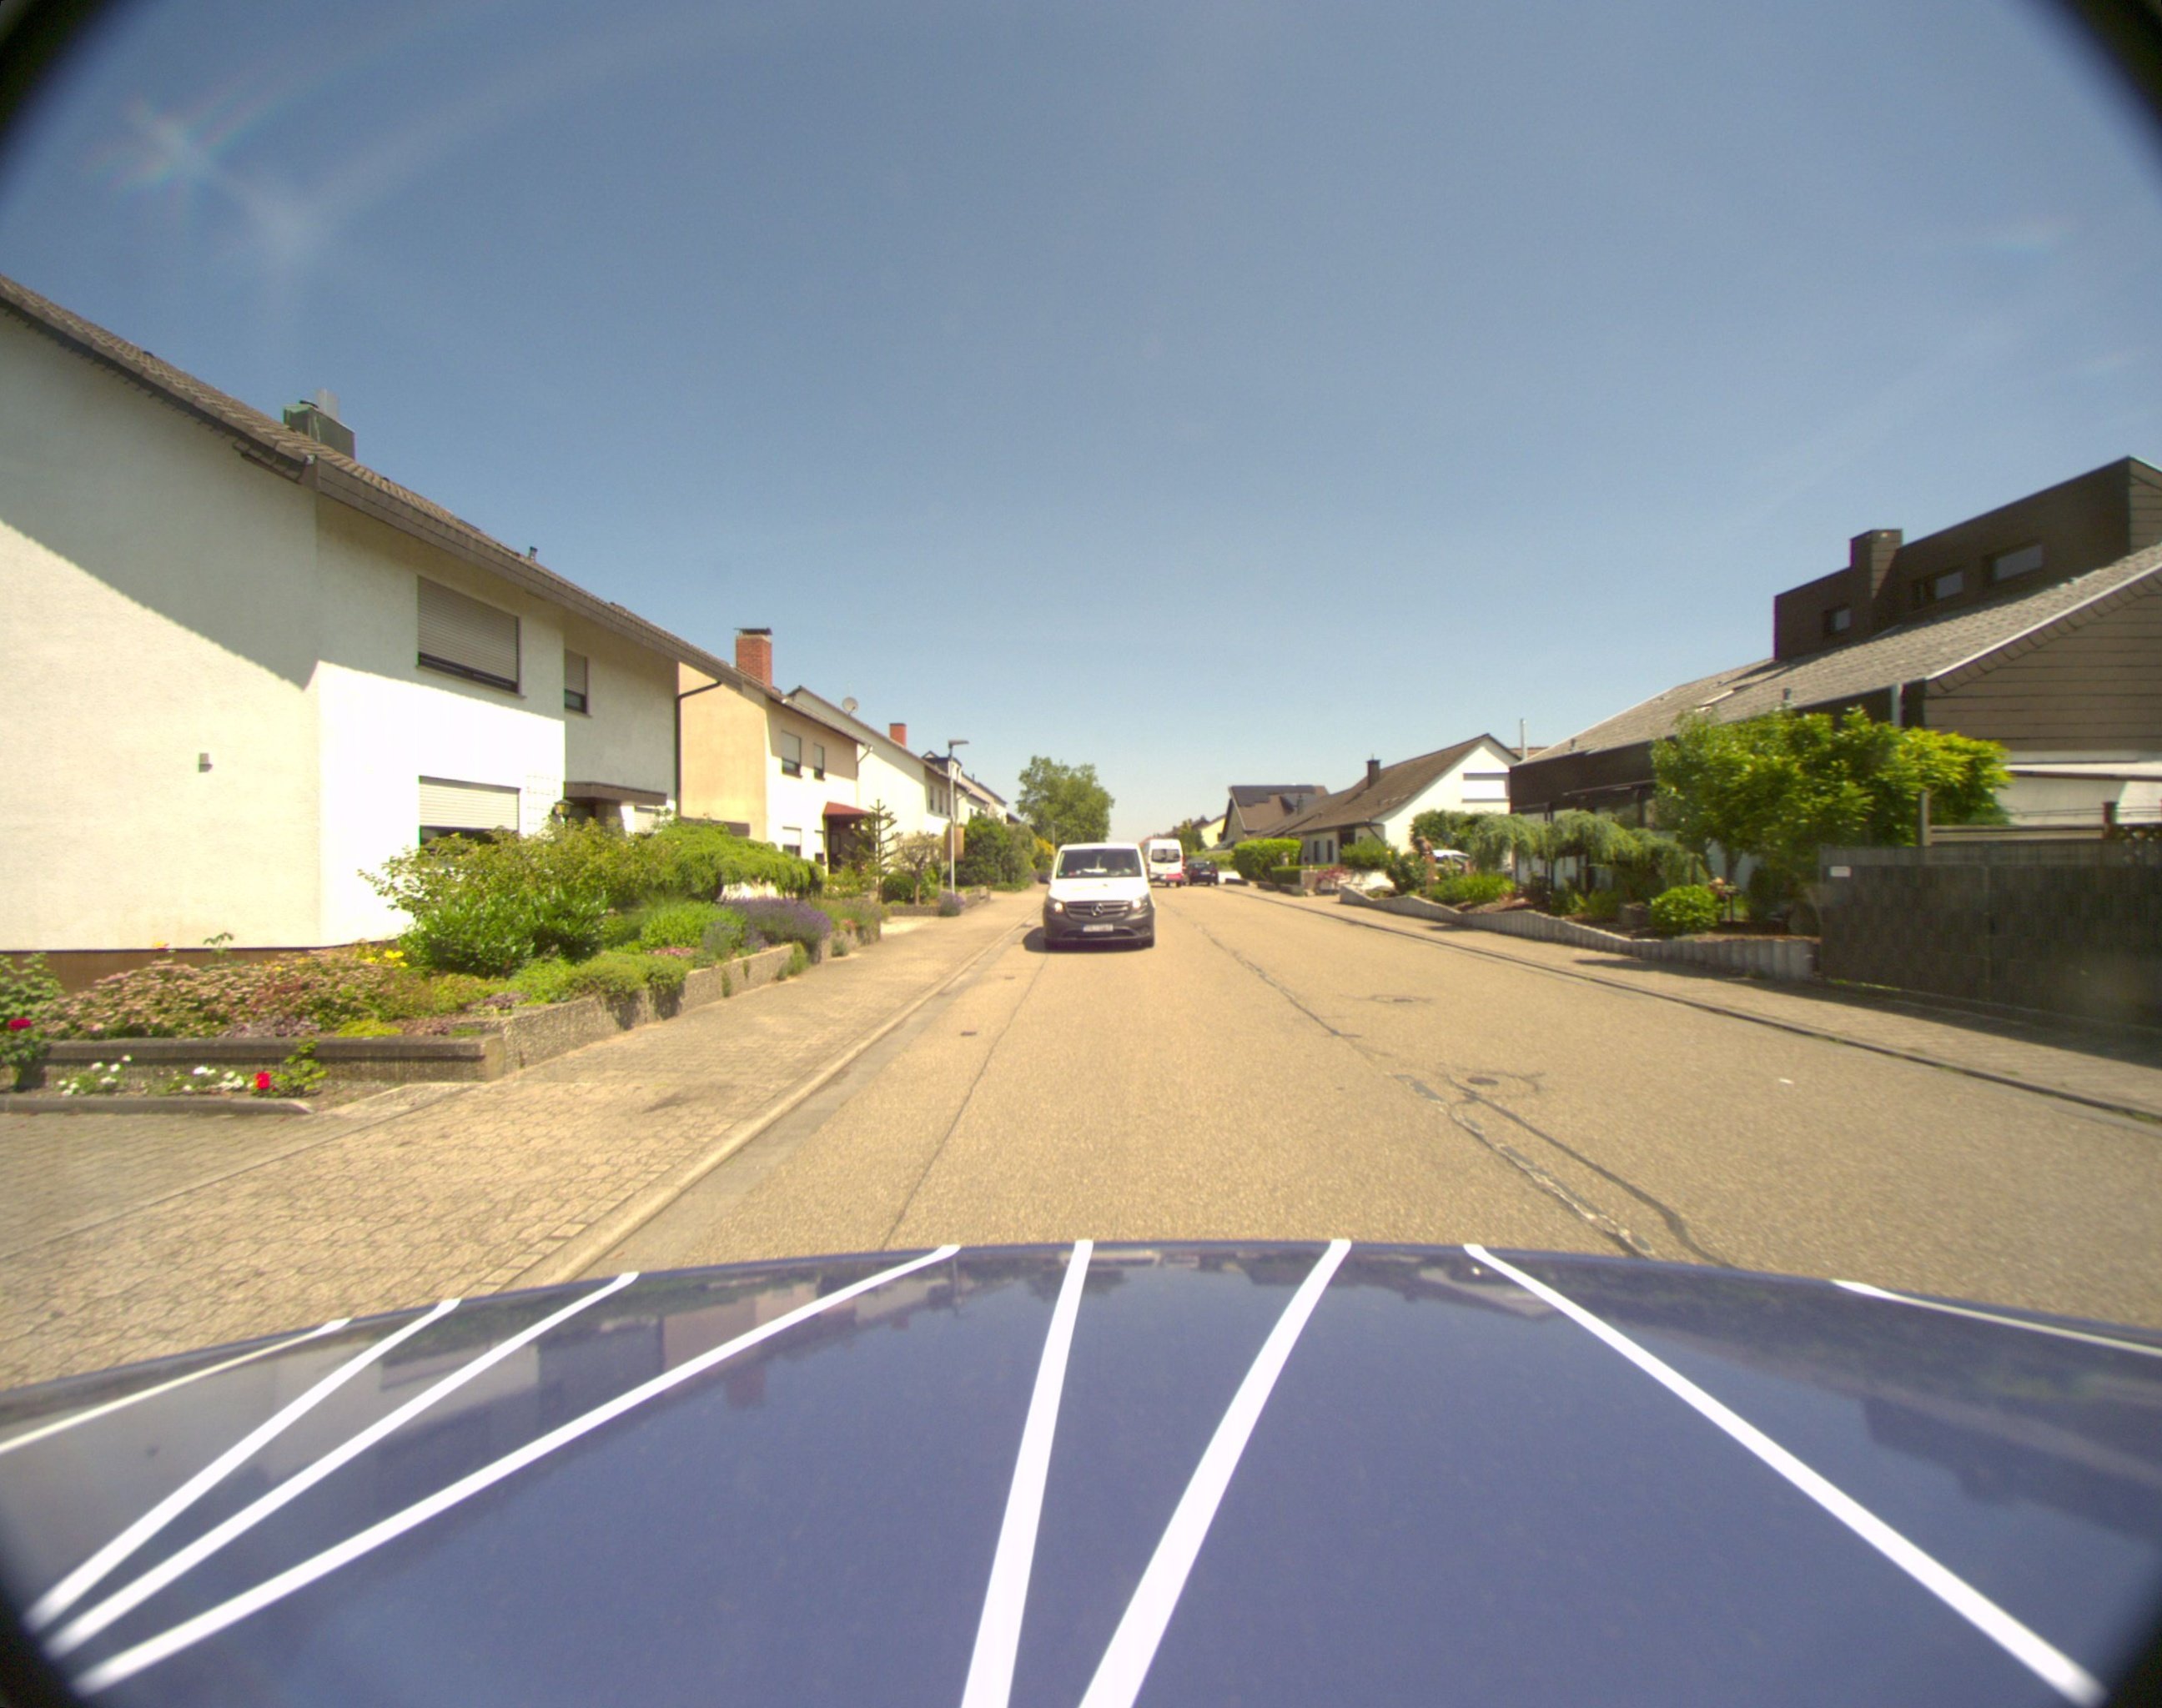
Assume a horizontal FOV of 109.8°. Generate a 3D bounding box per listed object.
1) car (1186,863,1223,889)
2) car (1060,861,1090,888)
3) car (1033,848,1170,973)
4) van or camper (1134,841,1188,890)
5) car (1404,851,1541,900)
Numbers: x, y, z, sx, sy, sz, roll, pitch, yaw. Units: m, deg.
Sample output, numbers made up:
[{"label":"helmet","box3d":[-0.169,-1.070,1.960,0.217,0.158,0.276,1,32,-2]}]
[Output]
[{"label":"car","box3d":[7.299,1.254,45.213,1.807,1.390,4.001,-1,0,5]},{"label":"car","box3d":[-0.310,1.135,43.996,1.564,1.455,4.693,-1,0,1]},{"label":"car","box3d":[0.366,0.830,13.807,2.018,1.845,5.068,-1,0,1]},{"label":"van or camper","box3d":[4.397,0.609,42.505,2.070,2.576,4.601,0,0,-6]},{"label":"car","box3d":[14.069,0.744,27.477,3.997,1.674,1.903,-1,0,0]}]
